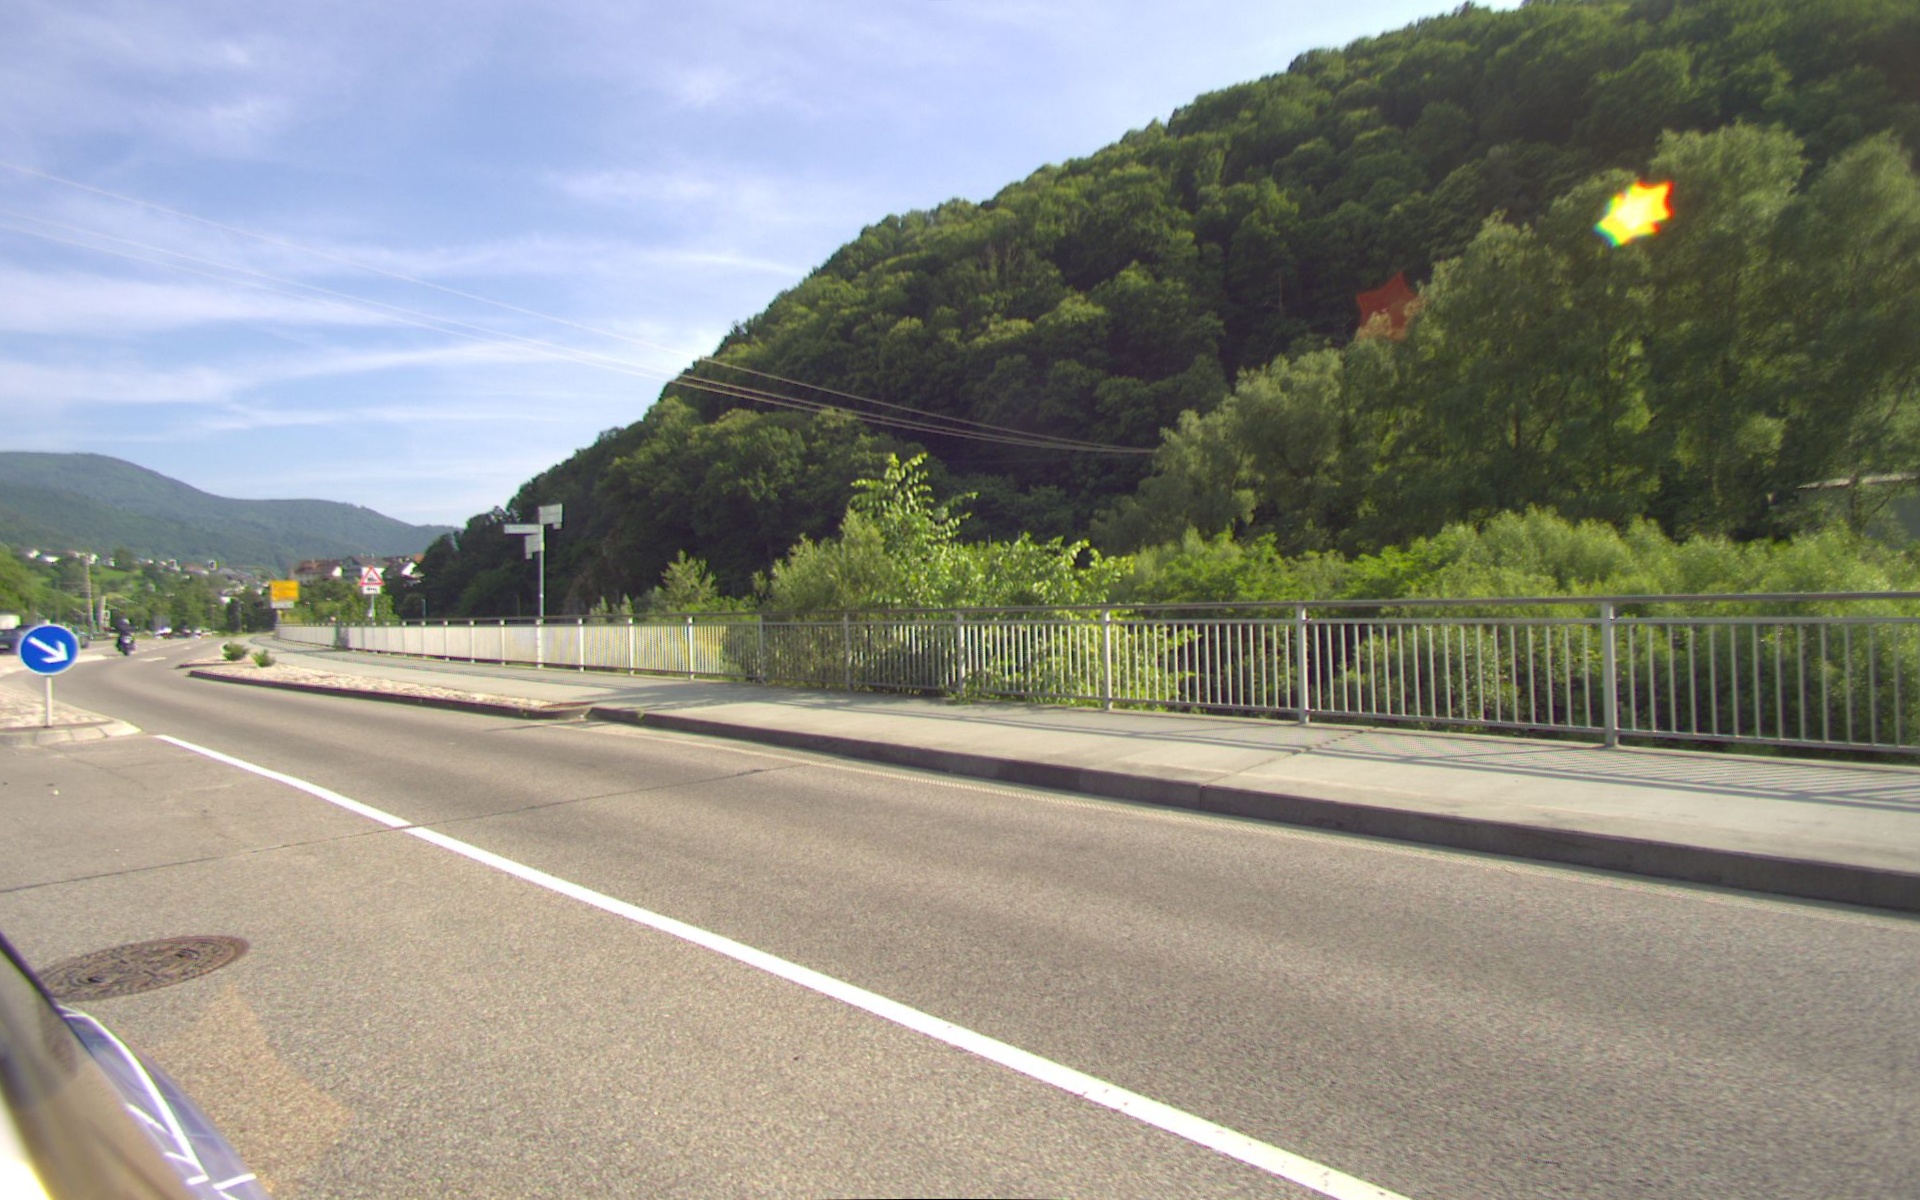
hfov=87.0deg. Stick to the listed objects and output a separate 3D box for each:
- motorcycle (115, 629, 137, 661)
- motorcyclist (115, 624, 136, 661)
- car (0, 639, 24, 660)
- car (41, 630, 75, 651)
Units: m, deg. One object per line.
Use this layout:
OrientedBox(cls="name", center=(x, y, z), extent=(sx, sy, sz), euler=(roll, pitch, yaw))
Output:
OrientedBox(cls="motorcycle", center=(-39.152, 2.102, 47.499), extent=(0.763, 1.433, 2.322), euler=(0, -2, -41))
OrientedBox(cls="motorcyclist", center=(-39.204, 1.991, 47.546), extent=(0.753, 1.690, 0.728), euler=(0, -1, -40))
OrientedBox(cls="car", center=(-47.105, 2.463, 49.782), extent=(1.285, 0.976, 3.211), euler=(-2, -1, -39))
OrientedBox(cls="car", center=(-54.462, 2.438, 61.132), extent=(1.253, 1.187, 3.129), euler=(-2, -1, -37))
